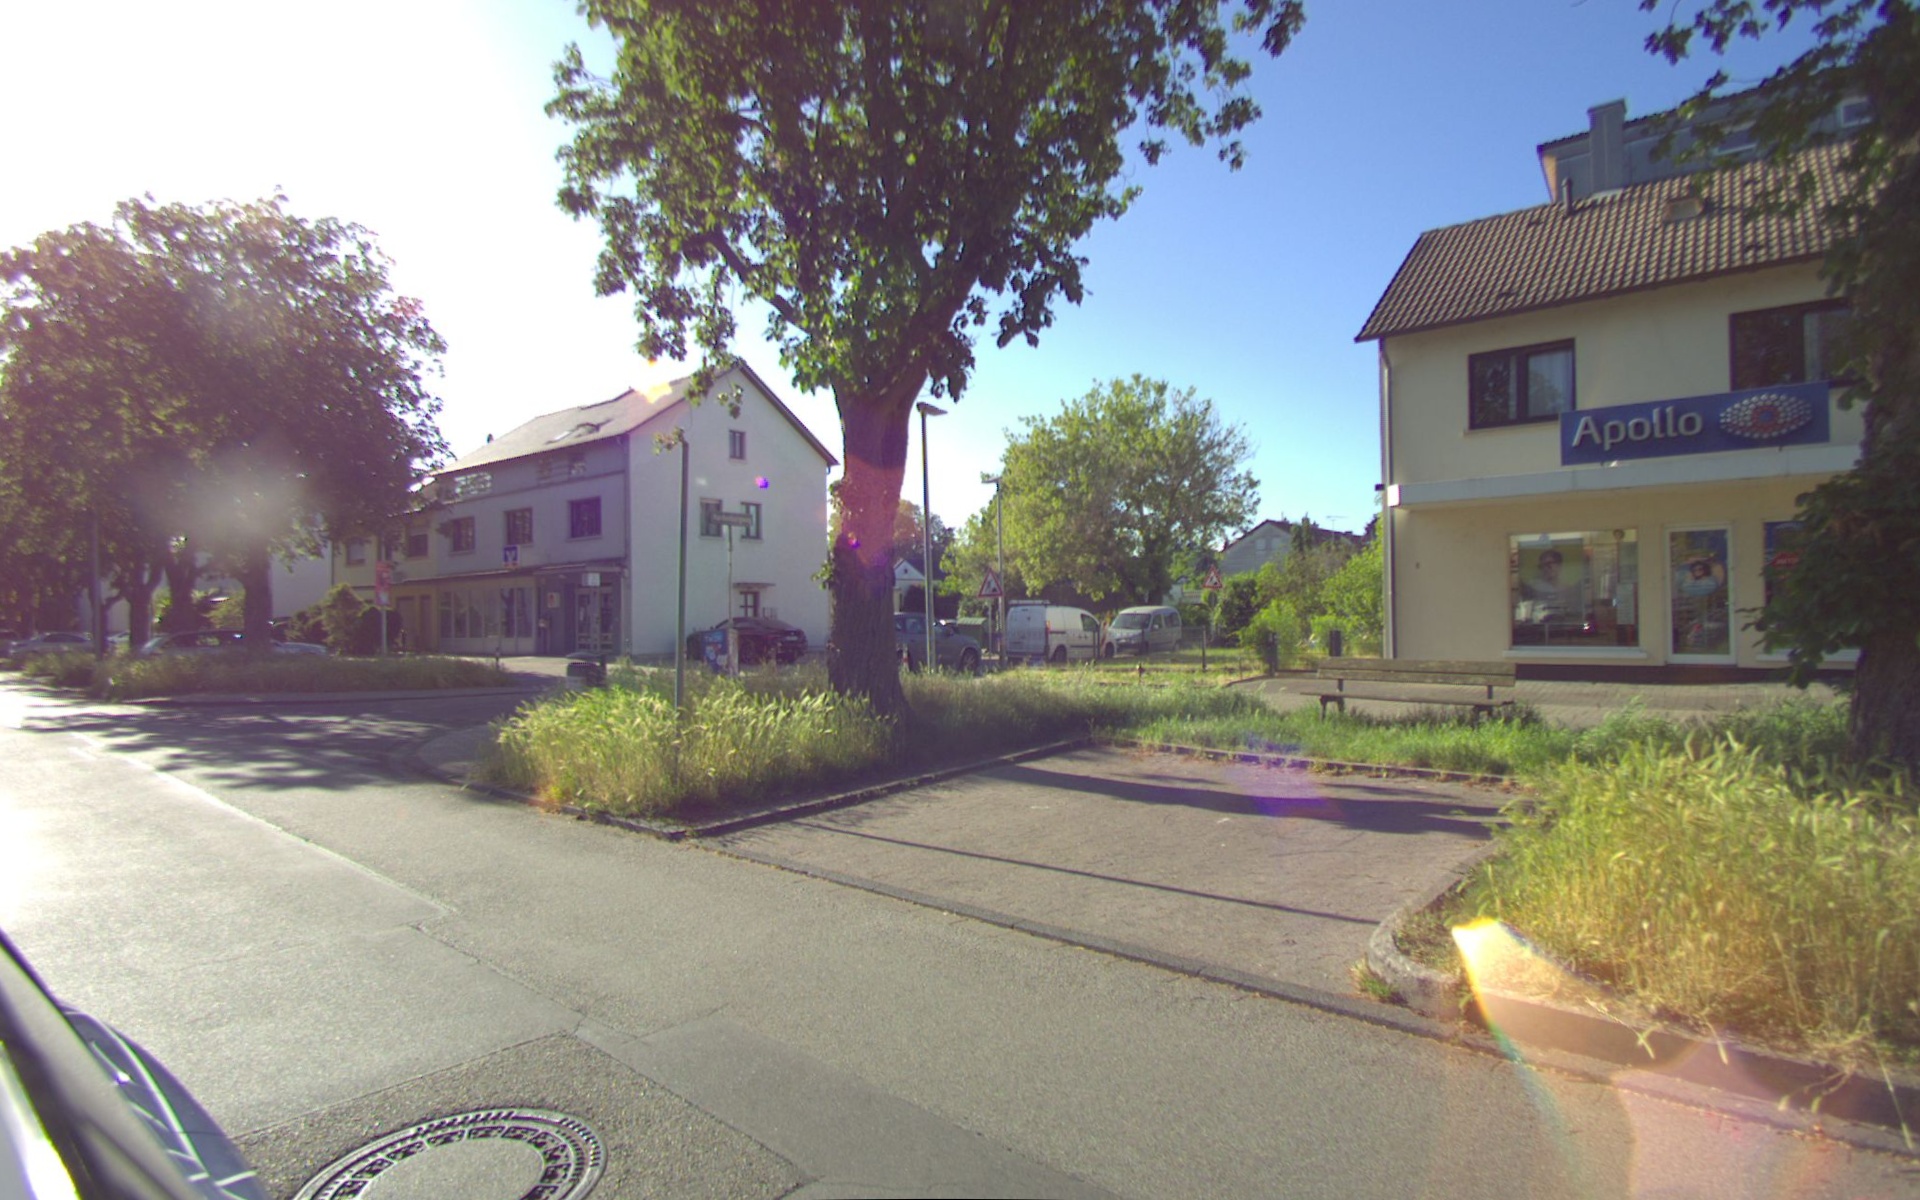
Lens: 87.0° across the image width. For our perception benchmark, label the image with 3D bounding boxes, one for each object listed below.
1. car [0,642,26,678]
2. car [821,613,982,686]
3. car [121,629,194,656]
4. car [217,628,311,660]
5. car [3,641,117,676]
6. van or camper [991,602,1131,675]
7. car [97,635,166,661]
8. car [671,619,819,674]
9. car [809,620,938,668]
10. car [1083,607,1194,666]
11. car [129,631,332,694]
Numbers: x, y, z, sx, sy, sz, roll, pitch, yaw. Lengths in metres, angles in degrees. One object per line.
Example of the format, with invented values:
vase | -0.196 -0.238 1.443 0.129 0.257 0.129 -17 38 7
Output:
car | -46.139 2.875 48.351 3.696 1.550 1.972 -1 2 44
car | -1.376 1.203 25.187 1.996 1.650 3.951 -2 -2 36
car | -60.241 3.157 75.991 1.999 1.696 3.946 -2 2 41
car | -36.014 2.249 52.417 3.721 1.577 1.692 2 -2 -45
car | -41.248 2.640 46.457 1.622 1.333 3.651 -2 1 36
van or camper | 3.159 1.118 30.853 1.998 2.029 4.626 -2 -1 39
car | -66.354 3.834 81.096 1.999 1.696 3.946 -2 2 41
car | -7.039 1.447 32.905 4.901 1.575 1.975 0 0 37
car | -3.206 1.564 36.966 4.662 1.539 1.854 0 0 37
car | 6.150 1.203 34.630 1.998 1.844 3.947 -2 0 40
car | -20.625 1.707 28.743 1.999 1.426 4.336 -1 0 41
